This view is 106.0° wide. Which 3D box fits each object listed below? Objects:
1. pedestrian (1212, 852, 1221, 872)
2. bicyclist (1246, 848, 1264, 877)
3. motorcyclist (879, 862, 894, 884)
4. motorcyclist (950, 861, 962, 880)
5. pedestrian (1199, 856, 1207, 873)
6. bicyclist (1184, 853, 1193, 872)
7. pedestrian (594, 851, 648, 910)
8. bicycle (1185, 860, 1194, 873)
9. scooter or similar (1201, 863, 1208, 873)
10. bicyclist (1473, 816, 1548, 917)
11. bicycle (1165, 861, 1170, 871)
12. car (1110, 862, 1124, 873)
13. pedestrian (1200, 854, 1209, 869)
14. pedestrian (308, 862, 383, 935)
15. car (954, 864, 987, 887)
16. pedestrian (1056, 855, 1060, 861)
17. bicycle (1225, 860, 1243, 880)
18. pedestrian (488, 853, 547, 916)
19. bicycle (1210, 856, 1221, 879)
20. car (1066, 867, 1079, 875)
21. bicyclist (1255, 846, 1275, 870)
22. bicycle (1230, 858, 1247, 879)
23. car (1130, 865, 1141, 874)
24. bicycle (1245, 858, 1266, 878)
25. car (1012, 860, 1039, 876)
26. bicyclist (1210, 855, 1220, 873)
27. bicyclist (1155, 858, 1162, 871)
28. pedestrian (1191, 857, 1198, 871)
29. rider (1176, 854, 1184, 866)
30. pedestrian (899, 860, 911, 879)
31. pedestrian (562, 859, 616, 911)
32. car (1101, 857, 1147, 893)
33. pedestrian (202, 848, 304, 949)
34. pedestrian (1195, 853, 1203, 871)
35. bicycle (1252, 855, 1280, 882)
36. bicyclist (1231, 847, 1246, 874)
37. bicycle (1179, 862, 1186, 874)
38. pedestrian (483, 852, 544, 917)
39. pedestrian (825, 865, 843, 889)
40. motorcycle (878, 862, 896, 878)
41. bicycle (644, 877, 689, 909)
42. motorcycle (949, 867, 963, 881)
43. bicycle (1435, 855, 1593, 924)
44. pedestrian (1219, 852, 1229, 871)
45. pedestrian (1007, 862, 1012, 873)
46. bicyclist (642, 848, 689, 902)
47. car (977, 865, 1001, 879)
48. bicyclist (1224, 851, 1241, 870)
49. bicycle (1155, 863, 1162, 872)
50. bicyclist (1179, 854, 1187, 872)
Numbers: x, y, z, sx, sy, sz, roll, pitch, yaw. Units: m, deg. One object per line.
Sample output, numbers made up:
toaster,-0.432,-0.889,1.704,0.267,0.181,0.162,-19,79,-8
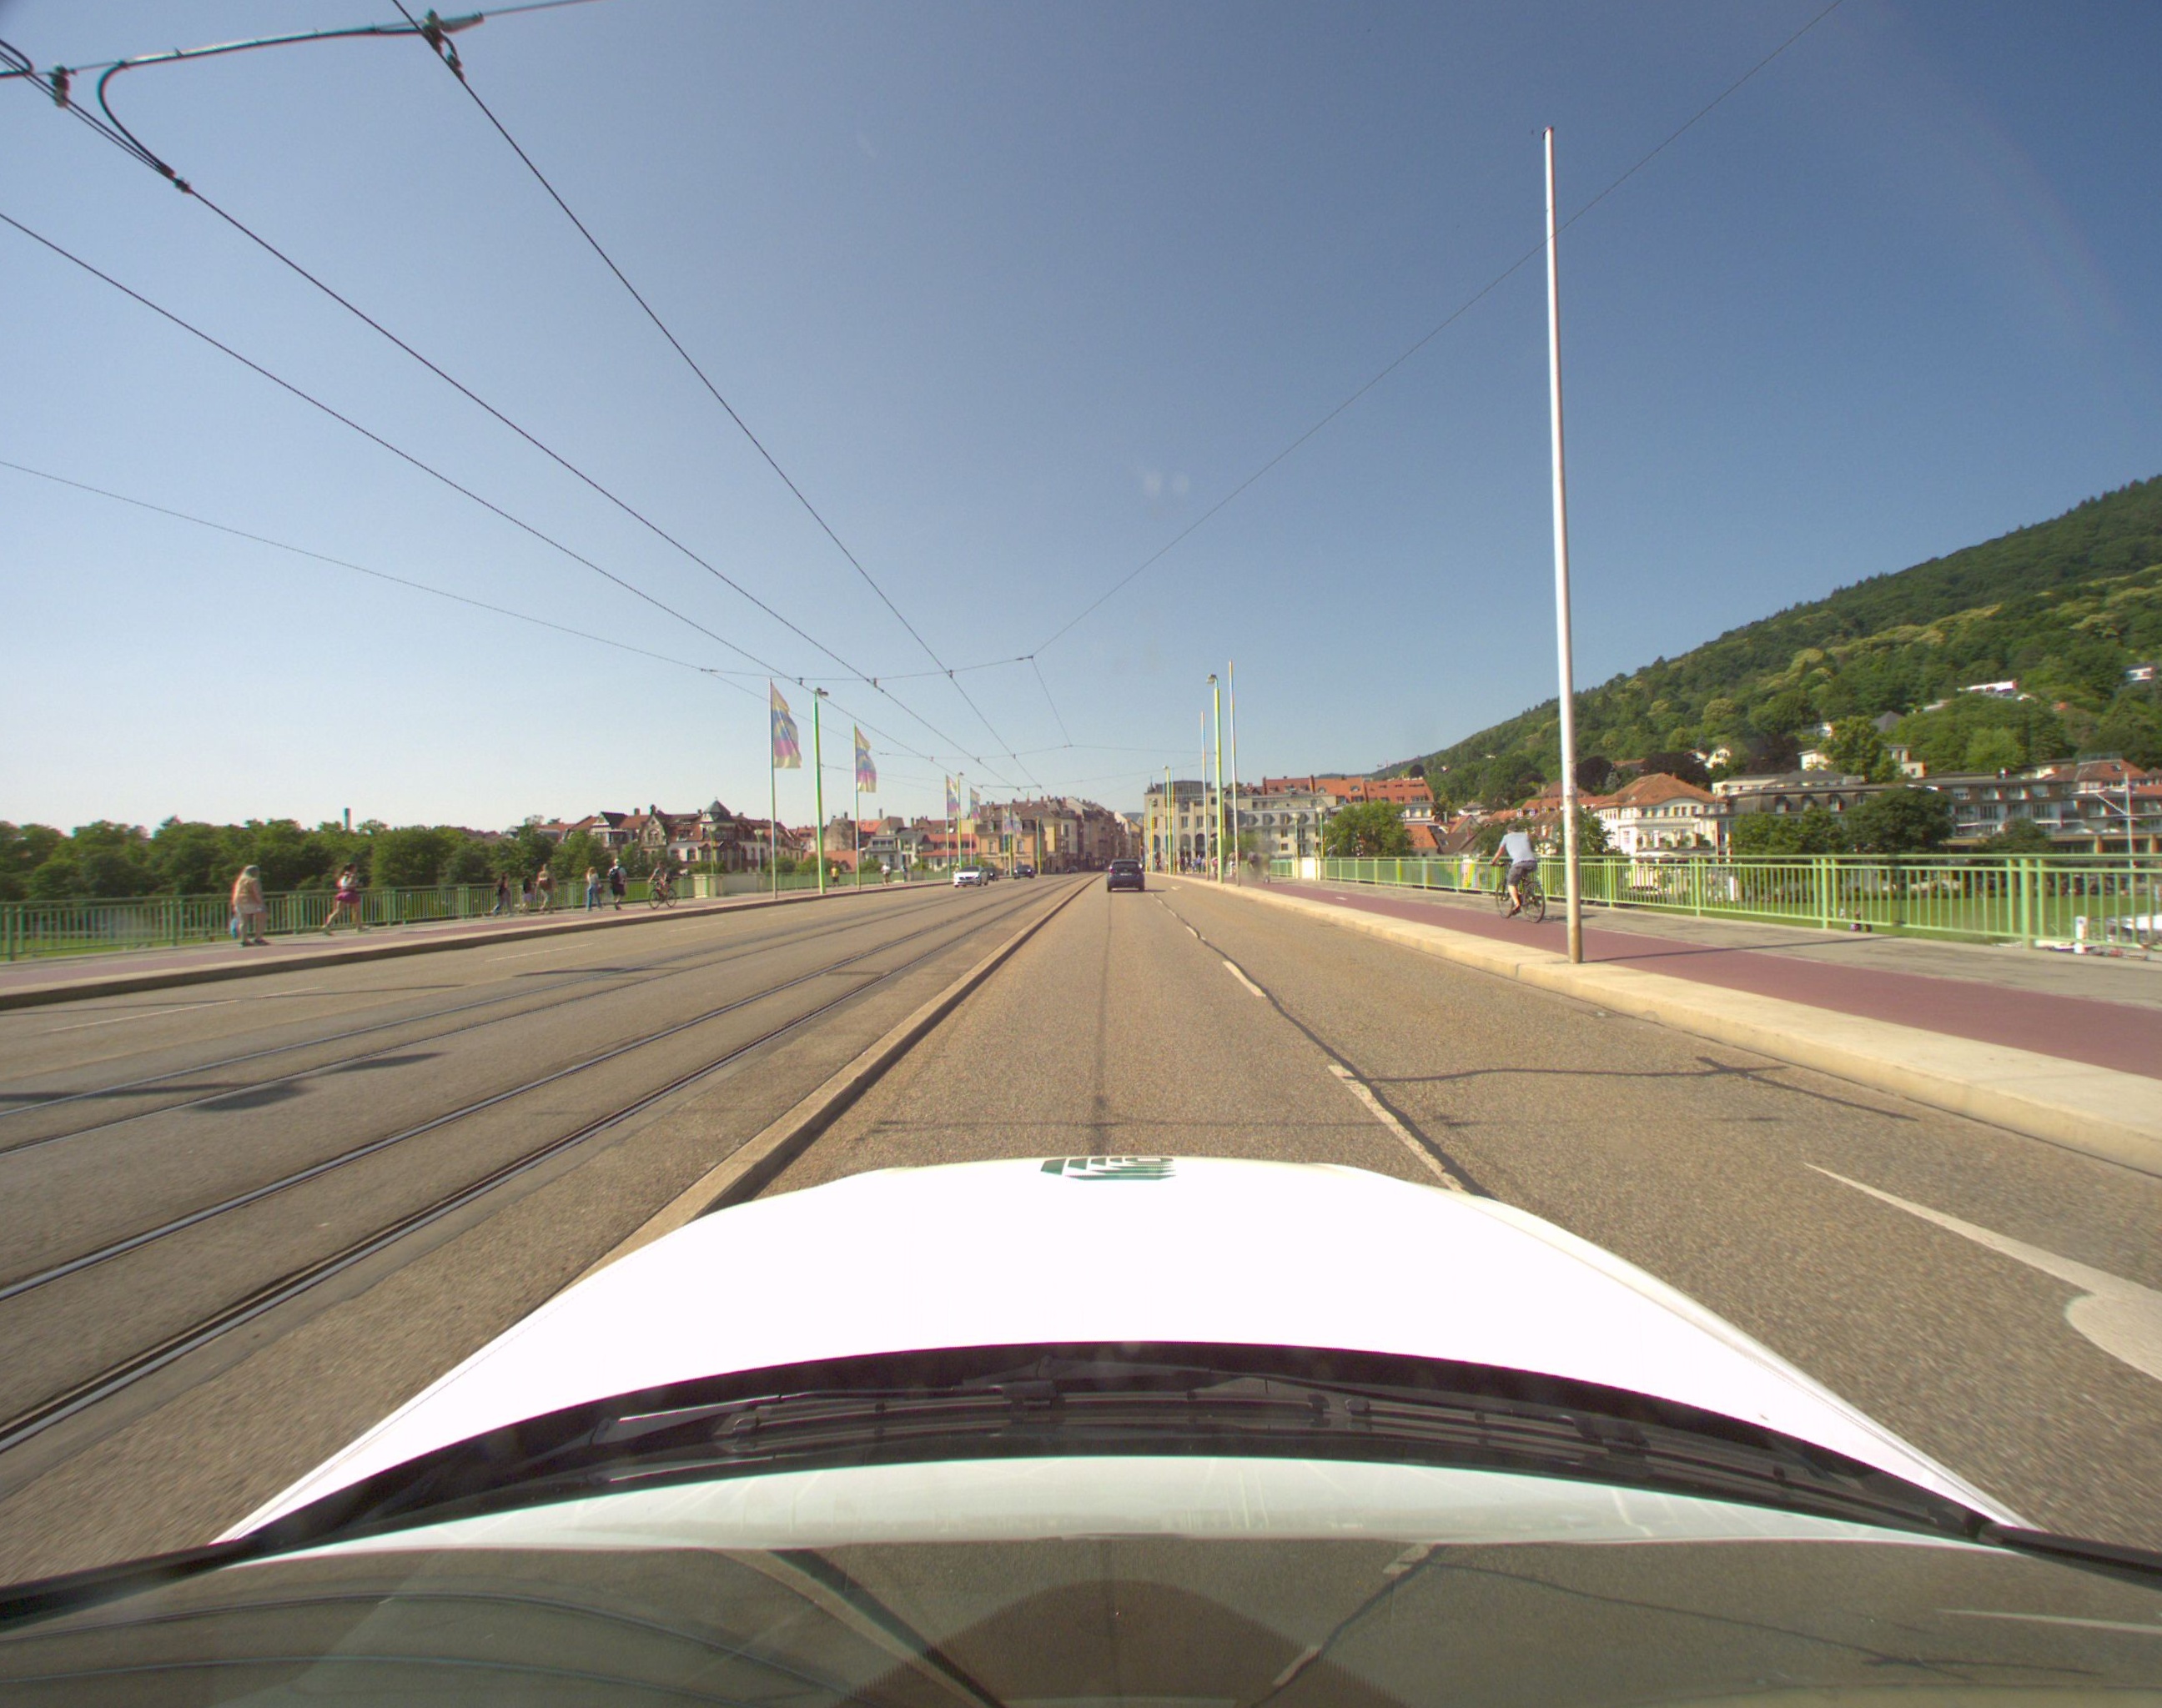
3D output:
pedestrian,11.410,0.671,68.672,0.597,1.586,0.867,-2,-1,0
bicyclist,9.269,0.429,43.343,0.732,1.500,0.980,-2,-1,0
motorcyclist,-14.202,1.352,59.446,0.797,1.549,1.069,-2,-1,1
motorcyclist,-10.593,1.384,69.253,0.824,1.574,0.832,-2,-1,1
pedestrian,12.926,1.107,86.065,0.639,1.757,0.867,-2,-1,0
bicyclist,9.979,0.802,75.505,0.654,1.676,0.869,-2,-1,1
pedestrian,-16.250,0.913,28.808,1.094,2.013,1.295,-1,0,0
bicycle,10.013,1.134,75.493,0.591,1.178,1.940,-2,0,1
scooter or similar,12.930,1.464,85.181,0.586,1.069,0.865,-2,-1,0
bicyclist,7.796,0.212,14.827,0.671,1.744,1.149,-2,0,-2
bicycle,11.592,1.608,109.205,0.663,1.178,2.032,-2,0,5
car,5.232,1.966,119.336,1.798,1.469,3.999,-3,-1,0
pedestrian,14.274,0.875,94.126,0.926,1.761,0.938,-2,-1,2
pedestrian,-17.802,1.050,19.746,0.752,1.722,1.175,-1,-1,0
car,-7.518,1.453,55.881,1.990,1.409,4.539,-2,0,-5
pedestrian,-5.030,0.905,176.248,0.759,1.398,0.664,-2,0,4
bicycle,8.535,0.885,45.496,0.616,1.037,2.051,-2,0,1
pedestrian,-18.540,0.989,26.830,1.094,2.013,1.129,-1,0,-1
bicycle,8.366,0.807,50.772,0.531,1.367,2.223,-2,0,12
car,-1.712,3.433,167.400,1.983,1.479,4.007,-2,0,7
bicyclist,8.514,0.185,37.748,0.665,1.045,0.979,-2,0,-2
bicycle,9.829,0.899,50.877,0.616,1.271,2.216,-2,0,1
car,10.218,2.914,152.480,1.795,1.469,4.005,-3,-1,4
bicycle,9.263,0.732,43.328,0.616,1.037,2.266,-2,0,1
car,-5.981,1.507,88.817,1.982,1.599,4.349,-2,0,9
bicyclist,8.386,0.637,50.974,0.595,1.101,0.855,-2,-1,12
bicyclist,9.587,1.245,100.863,0.650,1.567,1.338,-3,-1,3
pedestrian,11.703,1.058,84.045,0.611,1.465,0.848,-2,-1,2
rider,12.085,0.731,99.294,0.886,1.504,0.841,-2,-1,0
pedestrian,-16.060,1.440,74.299,0.827,1.722,1.094,-2,-1,2
pedestrian,-17.374,1.081,28.800,1.094,1.729,1.295,-1,0,0
car,1.978,0.939,38.528,1.904,1.540,3.999,-1,0,0
pedestrian,-17.349,0.903,17.106,0.966,2.013,1.100,-1,0,-3
pedestrian,12.055,0.831,83.204,0.710,1.811,0.848,-2,-1,2
bicycle,8.513,0.663,37.504,0.693,1.193,2.077,-2,-1,-2
bicyclist,9.836,0.406,50.871,0.732,1.635,0.867,-2,-1,0
bicycle,10.091,1.367,80.920,0.524,1.178,2.029,-2,0,1
pedestrian,-18.132,0.953,26.051,1.094,2.013,1.129,-1,0,-1
pedestrian,-16.994,1.581,56.030,0.895,1.658,1.030,-1,-1,4
motorcycle,-14.145,1.185,59.528,0.698,1.110,2.179,-2,0,2
bicycle,-15.417,1.432,30.363,0.587,1.096,2.112,-2,0,0
motorcycle,-10.599,1.721,69.110,0.698,1.110,2.179,-2,0,2
bicycle,7.813,0.583,15.037,0.790,1.096,3.741,-2,0,-2
pedestrian,12.066,0.668,68.706,0.597,1.586,0.867,-2,-1,0
pedestrian,-11.740,2.224,133.421,0.759,1.787,0.664,-2,-1,4
bicyclist,-15.446,0.761,30.313,1.094,1.961,1.129,-1,0,-1
car,-9.256,1.802,82.042,1.751,1.362,4.385,-2,0,2
bicyclist,8.505,0.357,45.639,0.732,1.030,1.175,-2,0,0
bicycle,9.606,1.661,100.790,0.650,0.981,2.179,-3,-1,3
bicyclist,10.080,0.887,80.653,0.625,1.689,0.869,-2,-1,1
